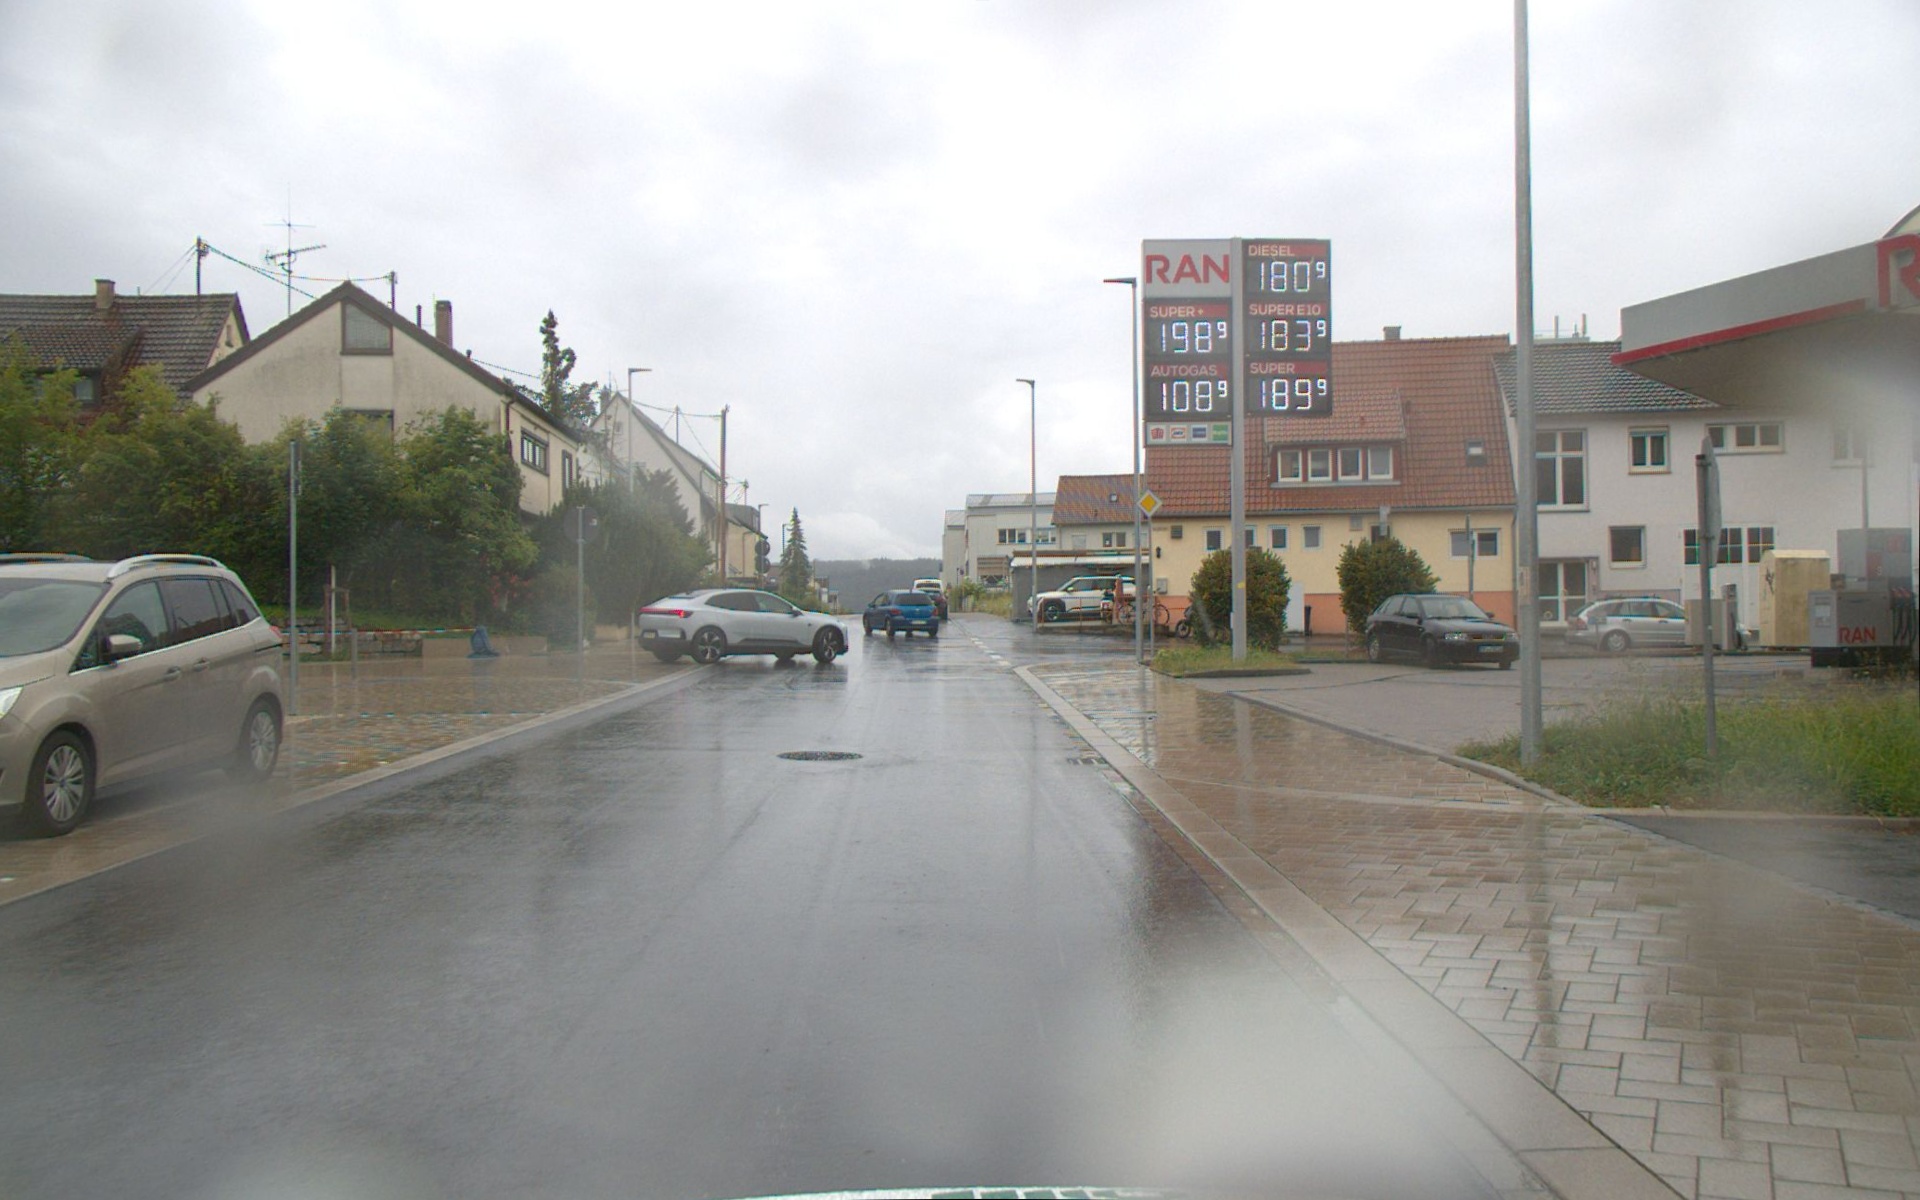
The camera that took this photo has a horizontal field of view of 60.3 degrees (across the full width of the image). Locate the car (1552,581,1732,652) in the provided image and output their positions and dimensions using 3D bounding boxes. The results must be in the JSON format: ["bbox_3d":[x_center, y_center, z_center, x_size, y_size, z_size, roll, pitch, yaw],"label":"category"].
[{"bbox_3d":[17.631,0.449,42.923,3.902,1.583,1.956,3,-2,7],"label":"car"}]

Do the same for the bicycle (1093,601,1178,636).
[{"bbox_3d":[5.705,0.586,54.006,0.662,1.085,3.589,4,-2,-32],"label":"bicycle"}]

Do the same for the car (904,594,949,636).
[{"bbox_3d":[-1.529,0.726,76.273,1.953,1.736,3.998,3,-2,-1],"label":"car"}]

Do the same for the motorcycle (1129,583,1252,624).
[{"bbox_3d":[7.769,0.103,55.825,3.909,1.173,1.092,2,-2,26],"label":"motorcycle"}]

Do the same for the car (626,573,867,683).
[{"bbox_3d":[-4.544,0.629,35.520,4.716,2.049,1.975,5,-3,-36],"label":"car"}]

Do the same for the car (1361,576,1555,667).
[{"bbox_3d":[9.768,0.453,32.756,1.959,1.579,3.987,4,-2,-12],"label":"car"}]

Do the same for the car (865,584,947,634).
[{"bbox_3d":[-1.850,0.336,55.772,1.821,1.519,3.983,4,-2,-15],"label":"car"}]

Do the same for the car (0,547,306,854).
[{"bbox_3d":[-6.133,0.547,10.990,1.953,1.657,4.152,-1,0,-1],"label":"car"}]

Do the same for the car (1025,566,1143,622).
[{"bbox_3d":[4.527,-0.206,60.611,4.032,1.736,1.787,3,-2,-4],"label":"car"}]

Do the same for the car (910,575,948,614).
[{"bbox_3d":[-1.550,-0.247,83.039,1.747,1.736,3.998,3,-2,-1],"label":"car"}]
